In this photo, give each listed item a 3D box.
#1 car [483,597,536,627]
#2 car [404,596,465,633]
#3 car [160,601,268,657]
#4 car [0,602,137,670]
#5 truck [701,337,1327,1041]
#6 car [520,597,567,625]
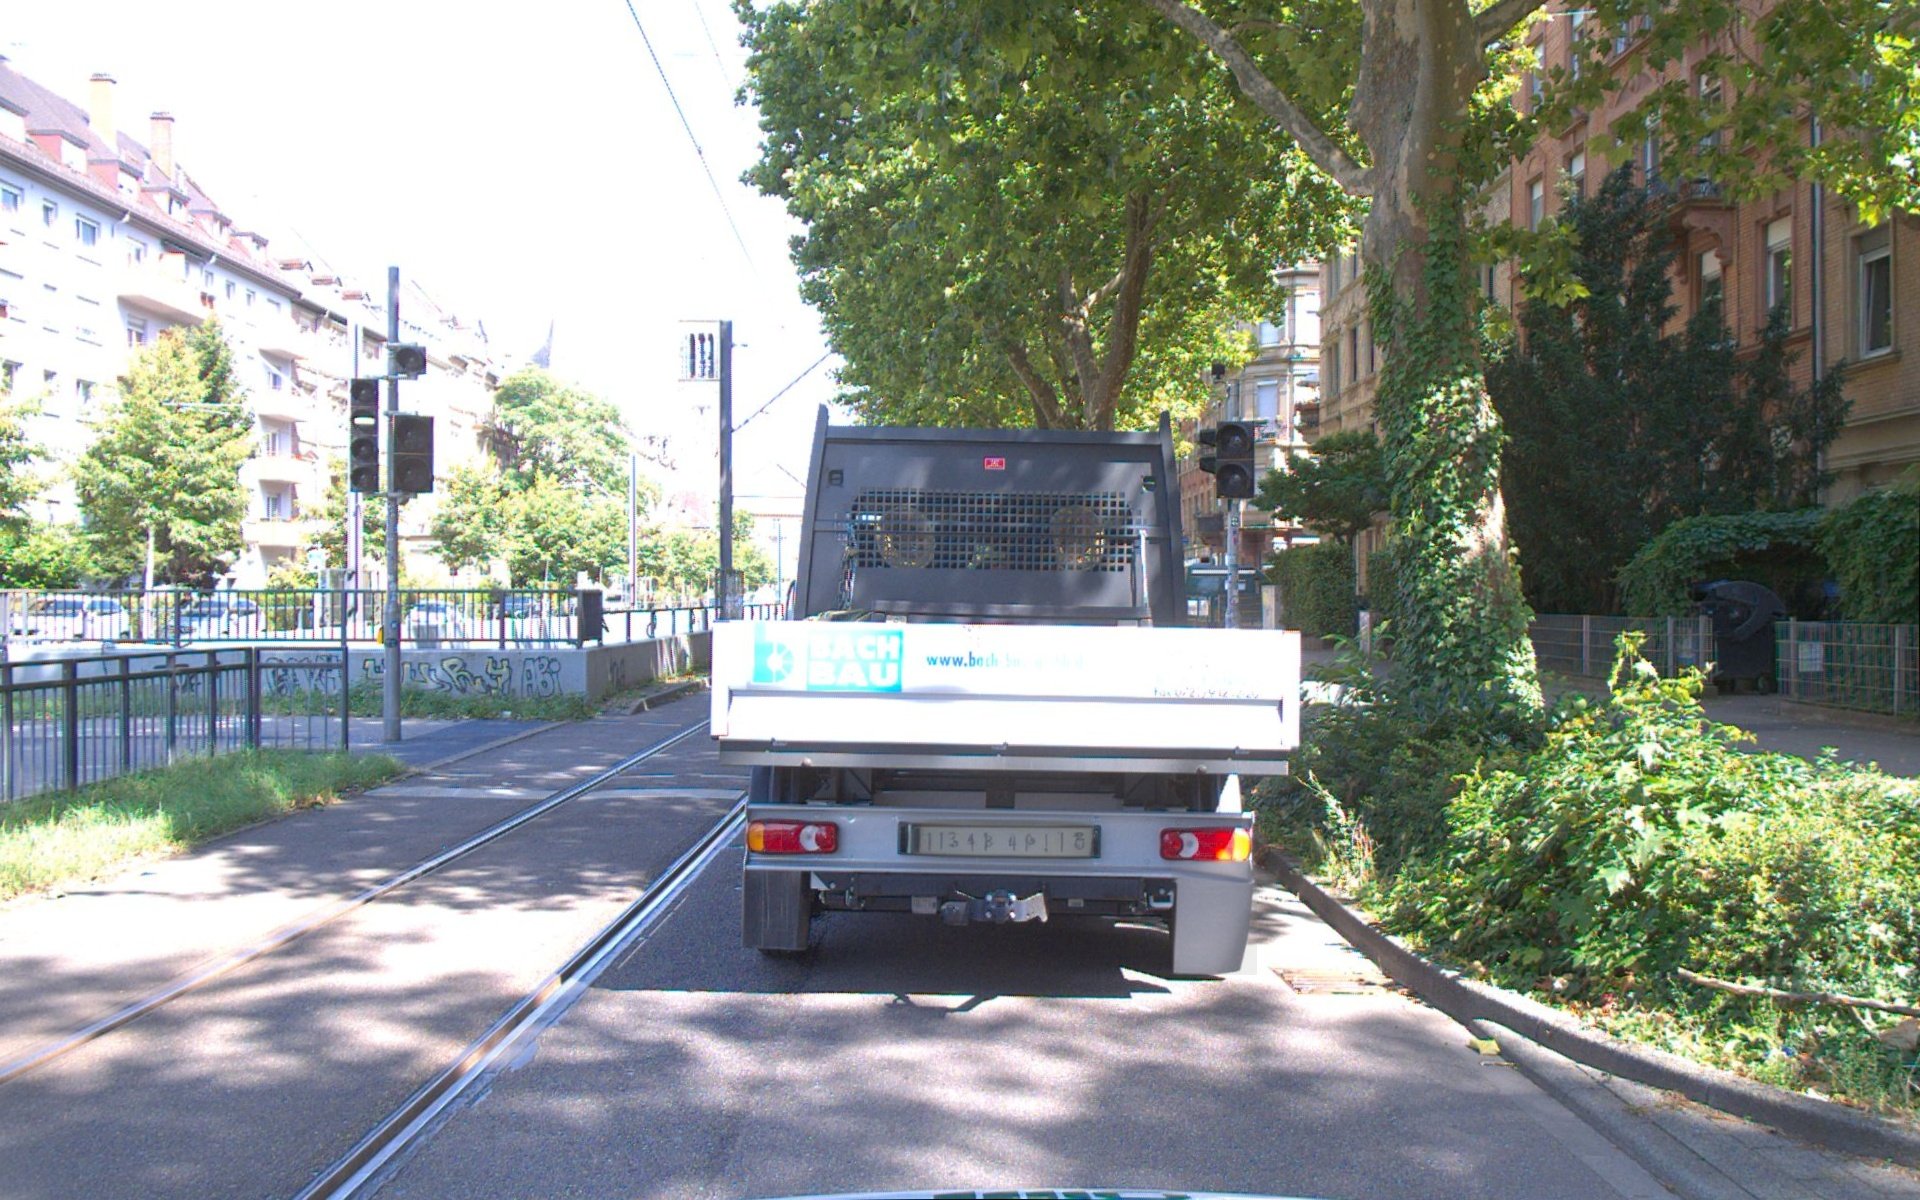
[{"bbox_3d":[-22.890,0.591,84.208,1.735,1.524,3.998,0,0,-2],"label":"car"},{"bbox_3d":[-22.397,0.610,70.663,1.736,1.524,3.994,0,0,-6],"label":"car"},{"bbox_3d":[-22.124,0.826,49.215,1.737,1.524,3.994,-2,0,-6],"label":"car"},{"bbox_3d":[-21.864,0.834,40.525,1.737,1.524,3.994,-2,0,-6],"label":"car"},{"bbox_3d":[0.189,0.296,7.782,2.094,2.359,4.401,0,0,0],"label":"truck"},{"bbox_3d":[-23.172,0.580,92.041,1.735,1.524,3.998,0,0,-2],"label":"car"}]
